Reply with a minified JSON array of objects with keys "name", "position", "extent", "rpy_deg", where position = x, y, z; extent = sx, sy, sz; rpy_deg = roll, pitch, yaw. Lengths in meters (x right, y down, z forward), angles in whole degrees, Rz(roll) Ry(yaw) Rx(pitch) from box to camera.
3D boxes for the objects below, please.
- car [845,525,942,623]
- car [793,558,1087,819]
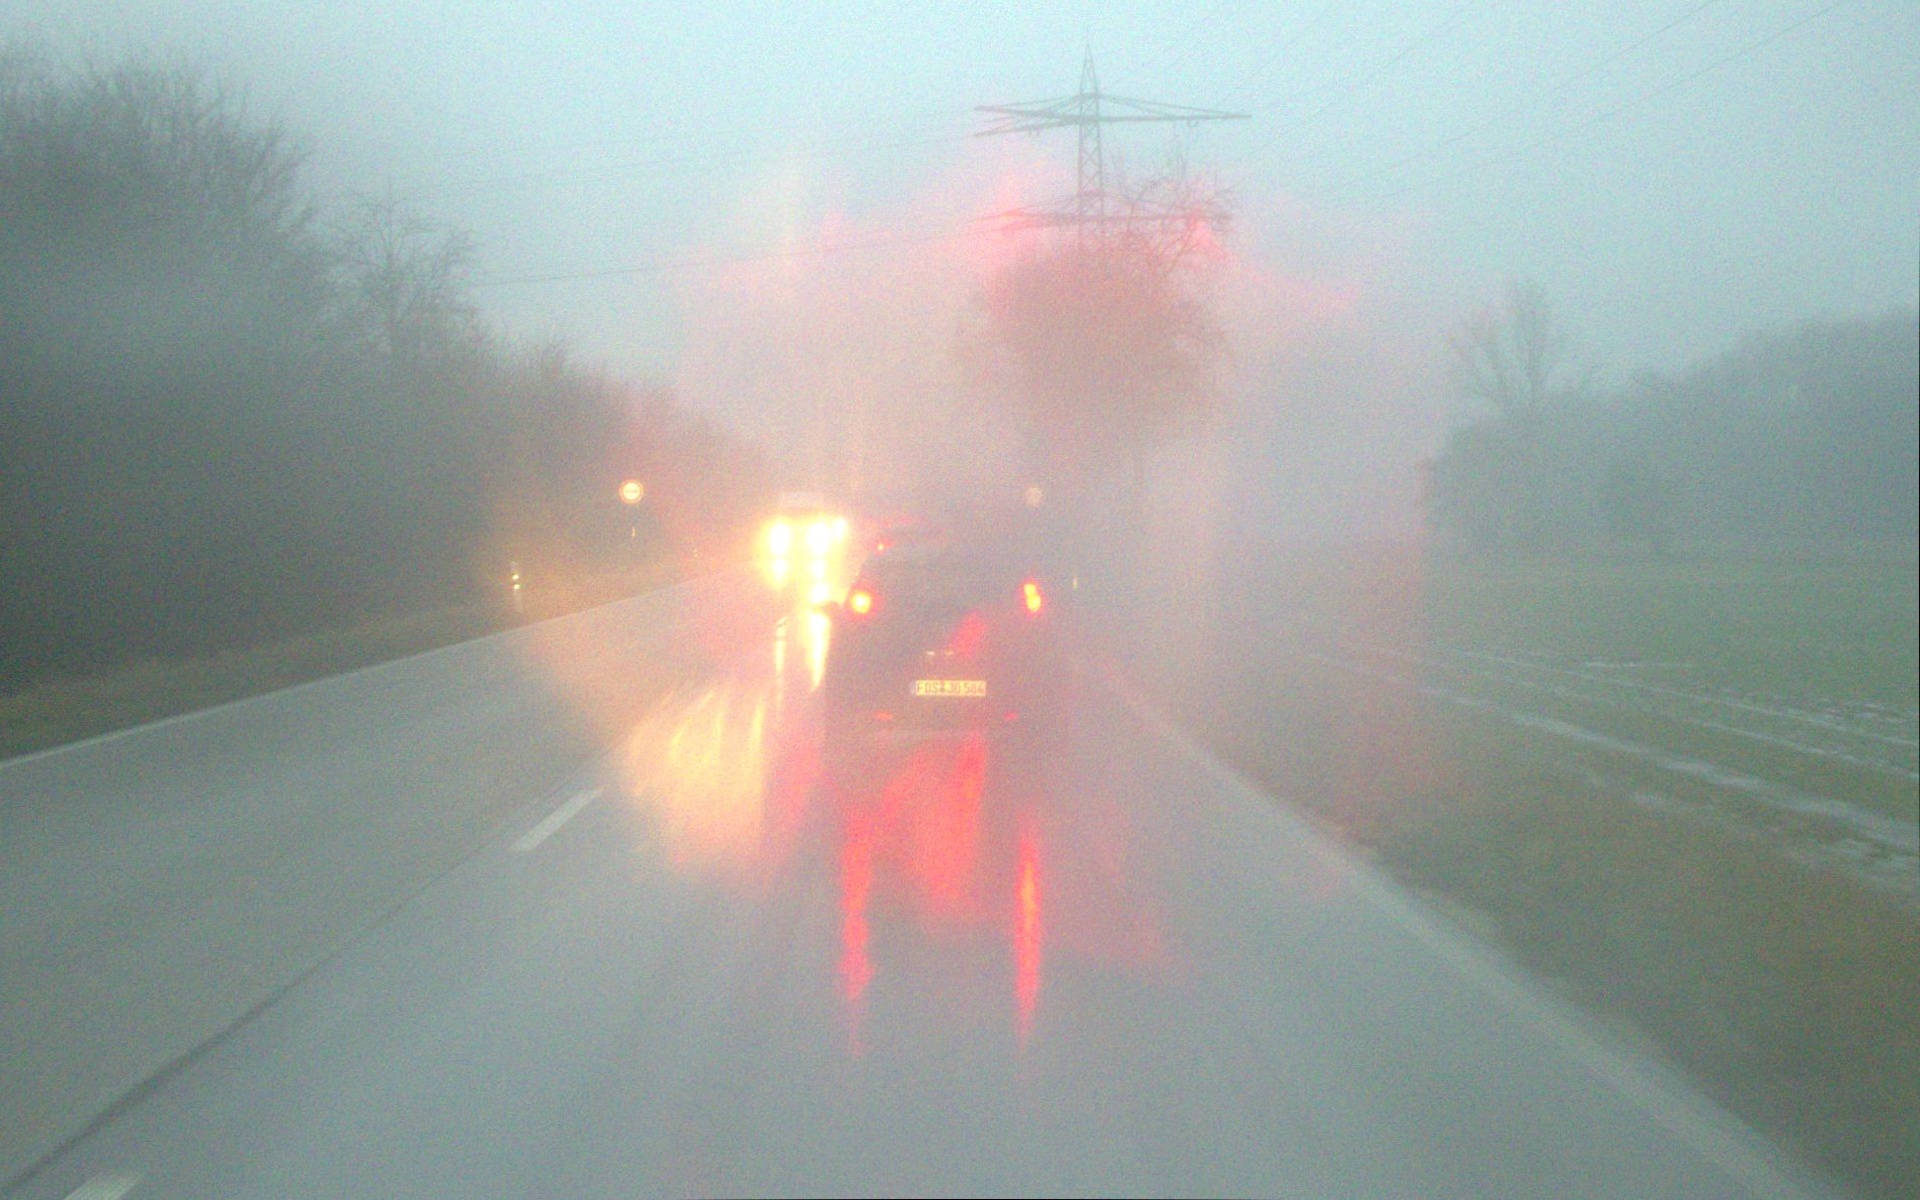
[{"name":"car","position":[-1.401,-0.577,72.782],"extent":[1.993,2.007,4.000],"rpy_deg":[0,1,-1]},{"name":"car","position":[-0.171,0.575,25.339],"extent":[1.993,1.746,4.000],"rpy_deg":[0,1,-1]}]
